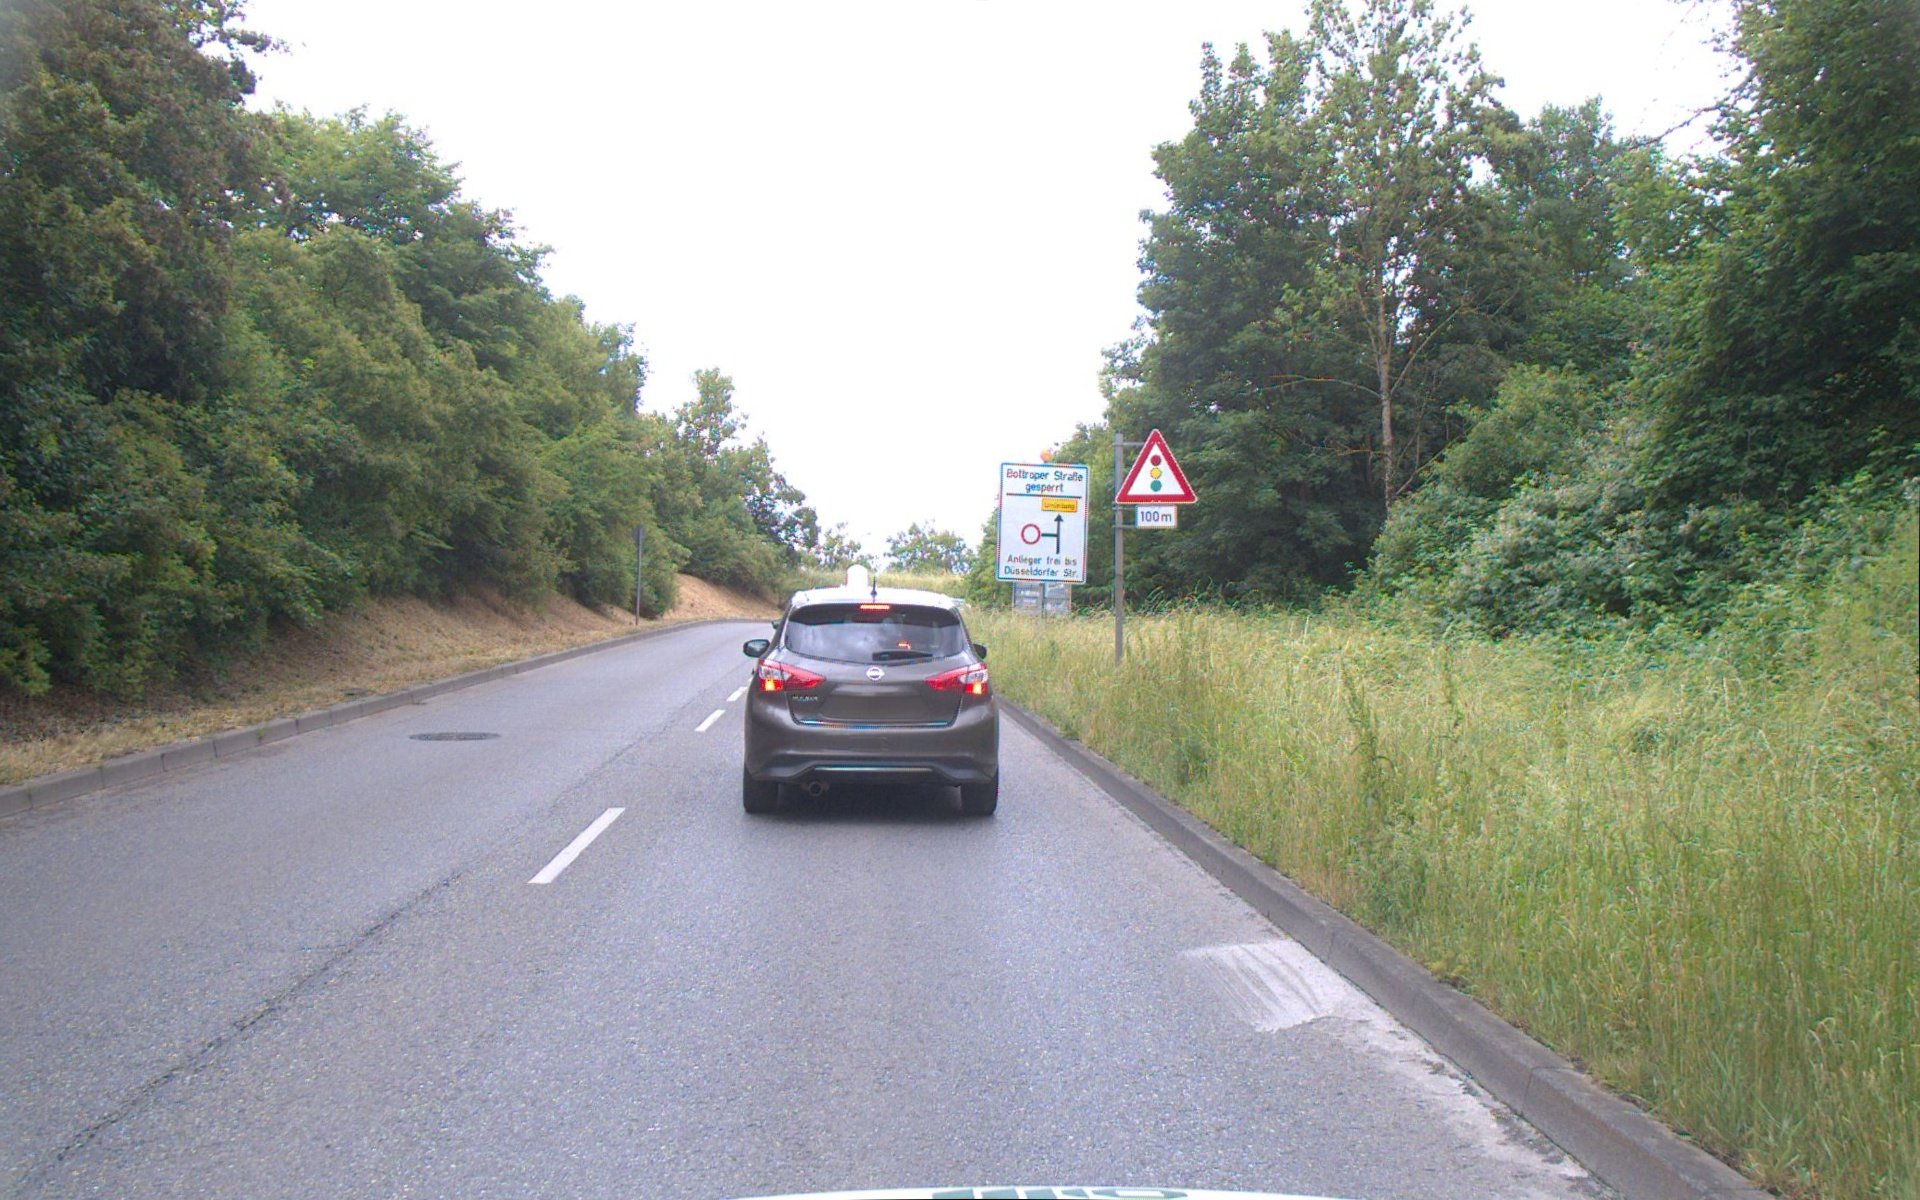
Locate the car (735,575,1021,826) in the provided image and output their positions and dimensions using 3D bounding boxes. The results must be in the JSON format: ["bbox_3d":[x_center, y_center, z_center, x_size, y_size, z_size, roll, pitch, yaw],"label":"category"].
[{"bbox_3d":[-0.640,0.633,12.288,1.794,1.583,3.496,1,0,-4],"label":"car"}]

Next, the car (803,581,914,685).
[{"bbox_3d":[-1.636,0.494,27.008,1.701,1.583,3.541,0,0,-3],"label":"car"}]

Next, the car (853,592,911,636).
[{"bbox_3d":[-2.856,0.495,61.191,1.699,1.553,3.643,0,0,5],"label":"car"}]

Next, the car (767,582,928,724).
[{"bbox_3d":[-1.349,0.578,20.304,1.794,1.583,3.622,0,0,-3],"label":"car"}]

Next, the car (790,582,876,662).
[{"bbox_3d":[-2.604,0.428,34.577,1.701,1.583,3.541,0,0,-3],"label":"car"}]

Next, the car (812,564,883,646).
[{"bbox_3d":[-2.807,0.116,41.674,1.701,1.968,3.541,0,0,-3],"label":"car"}]
